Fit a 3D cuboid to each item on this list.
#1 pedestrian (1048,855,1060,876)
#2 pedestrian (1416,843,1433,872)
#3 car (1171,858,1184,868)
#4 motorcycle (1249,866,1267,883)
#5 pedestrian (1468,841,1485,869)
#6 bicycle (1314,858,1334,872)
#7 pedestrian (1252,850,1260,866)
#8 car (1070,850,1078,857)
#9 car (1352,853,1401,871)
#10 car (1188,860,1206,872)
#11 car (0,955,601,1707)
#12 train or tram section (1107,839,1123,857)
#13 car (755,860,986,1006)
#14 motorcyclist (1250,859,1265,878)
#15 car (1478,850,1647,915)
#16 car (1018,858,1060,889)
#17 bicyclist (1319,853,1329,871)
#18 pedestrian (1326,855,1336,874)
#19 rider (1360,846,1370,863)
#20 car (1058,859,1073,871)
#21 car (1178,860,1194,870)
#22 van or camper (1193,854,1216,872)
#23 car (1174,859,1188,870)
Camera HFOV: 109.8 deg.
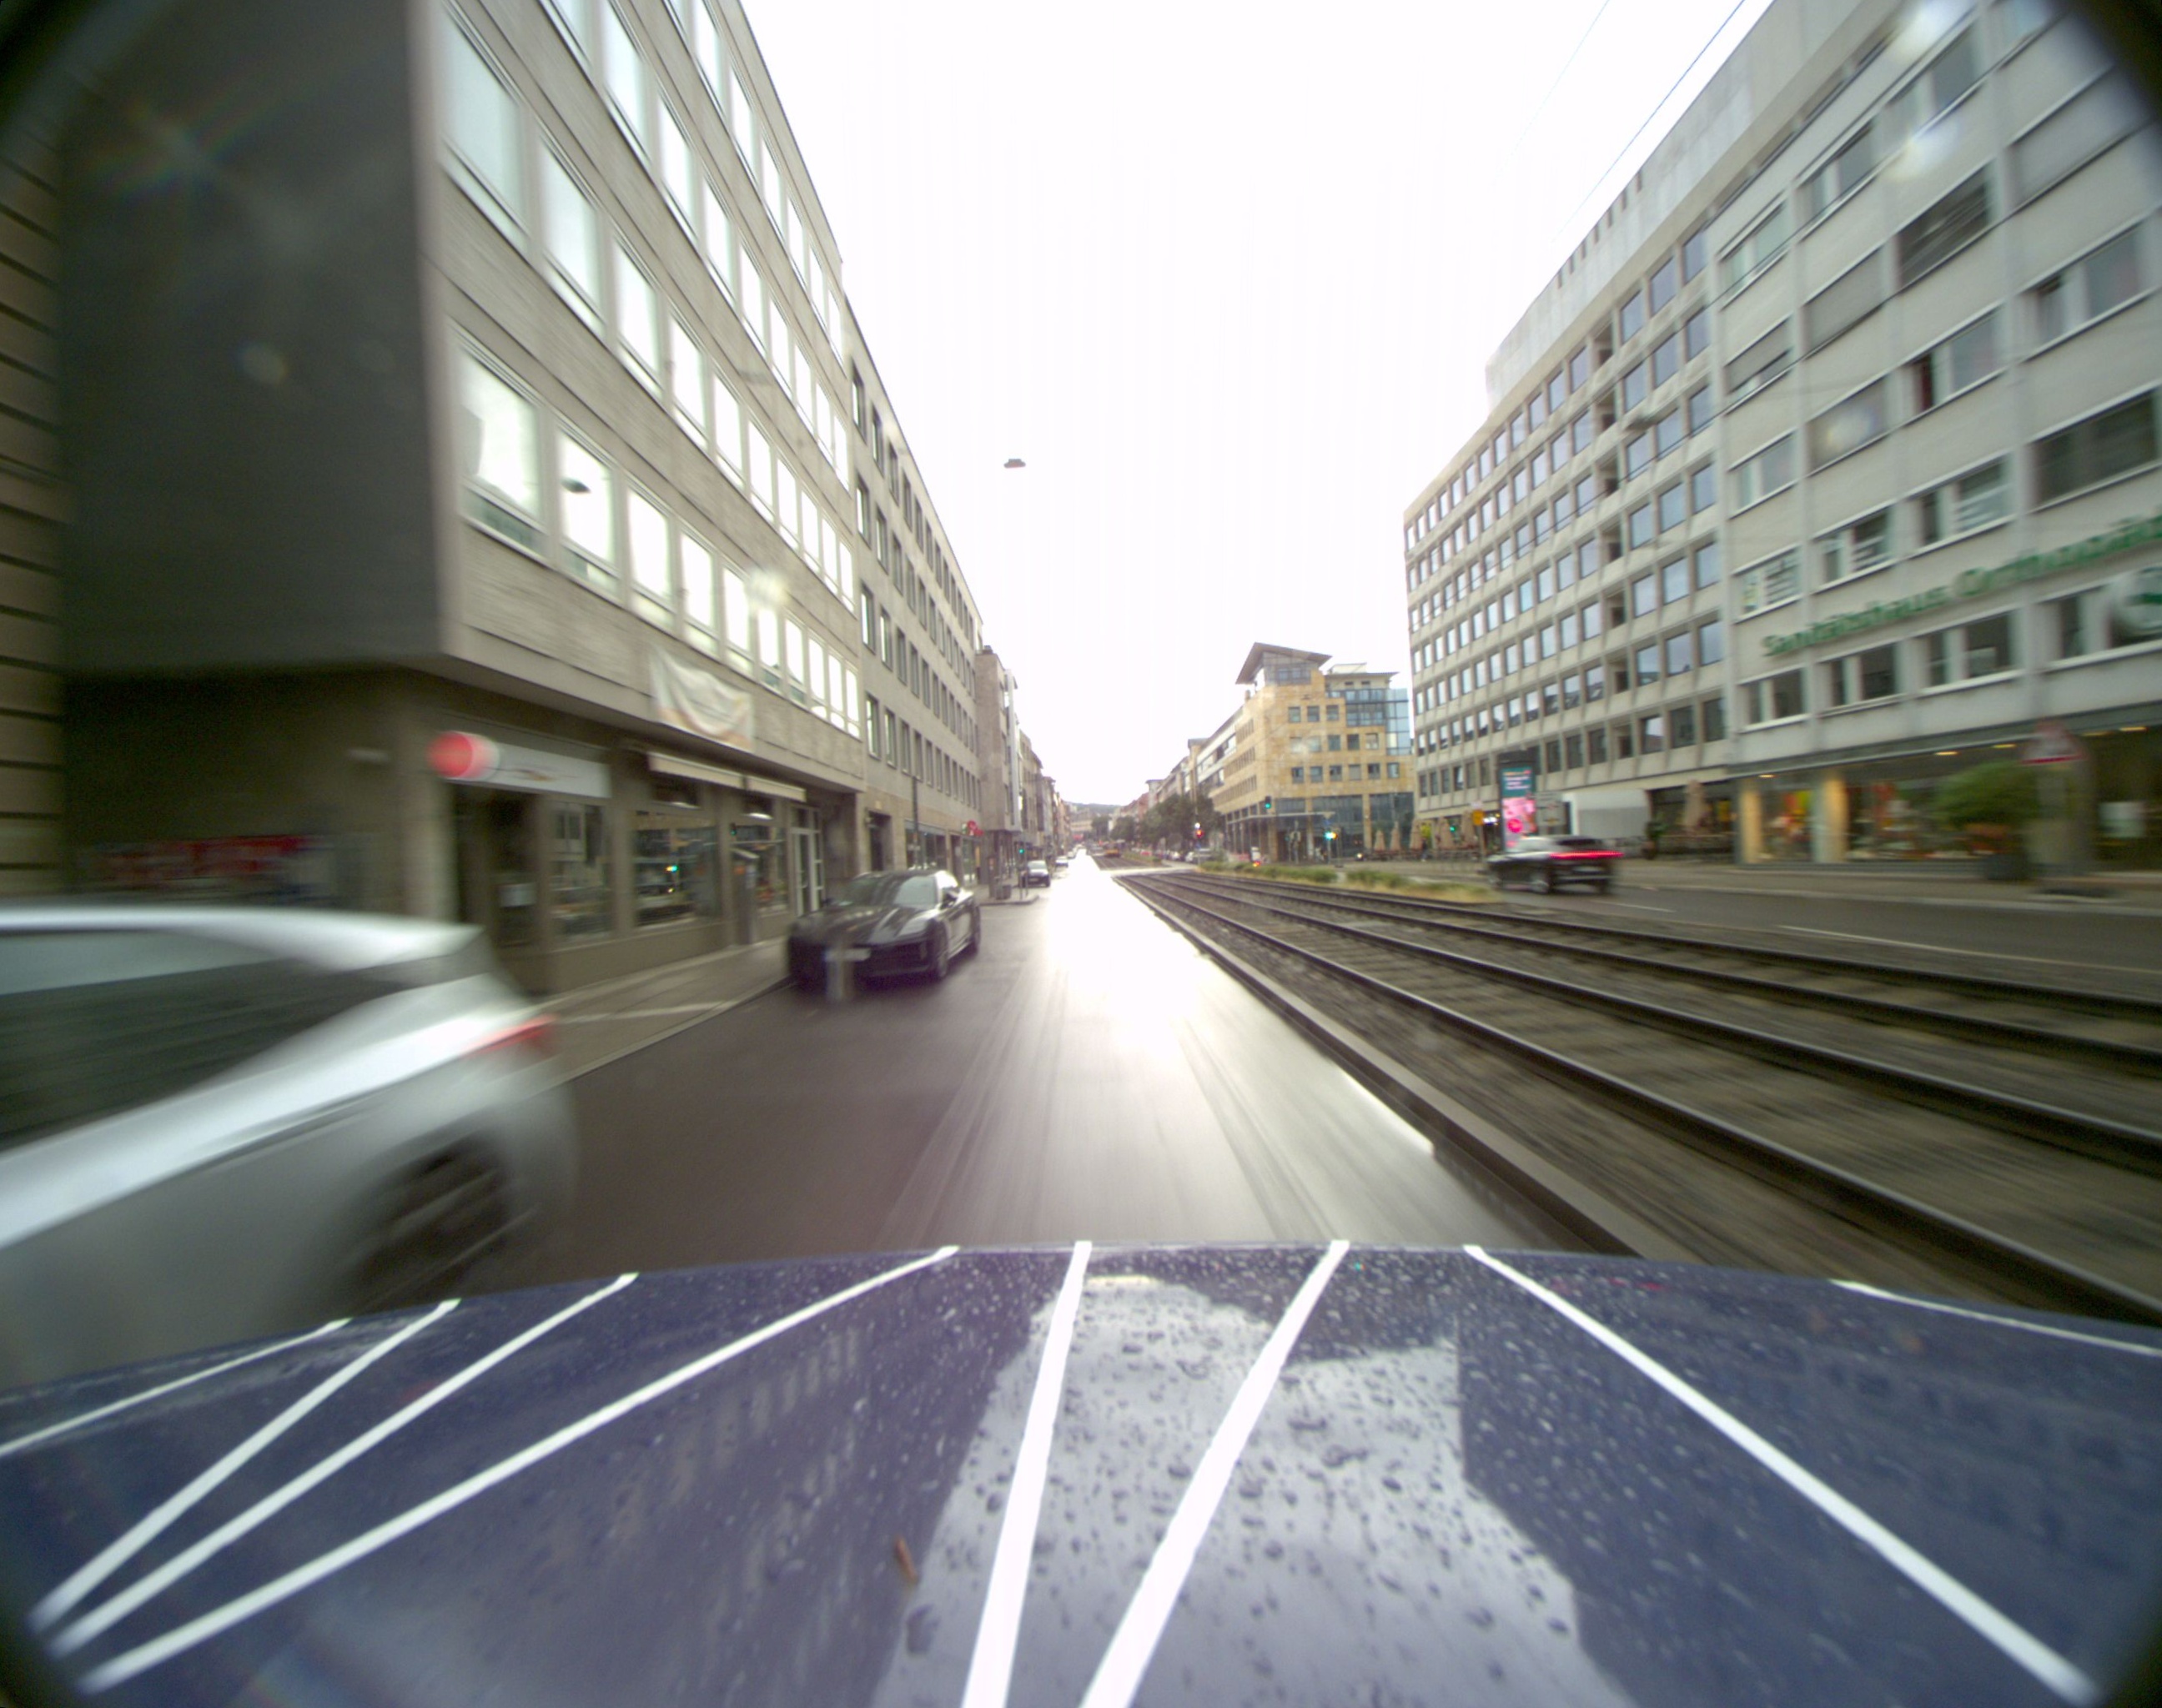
[{"bbox_3d":[-2.163,0.924,60.578,0.662,1.573,0.778,-2,0,-21],"label":"pedestrian"},{"bbox_3d":[22.452,0.235,49.631,0.566,1.812,0.844,-3,0,-4],"label":"pedestrian"},{"bbox_3d":[15.839,1.526,124.524,1.653,1.489,4.293,-2,0,1],"label":"car"},{"bbox_3d":[11.644,1.337,50.074,0.744,1.053,1.932,-3,0,2],"label":"motorcycle"},{"bbox_3d":[25.792,0.077,49.549,0.566,1.738,0.844,-3,0,-4],"label":"pedestrian"},{"bbox_3d":[25.216,1.156,78.793,1.768,1.303,0.660,-3,0,0],"label":"bicycle"},{"bbox_3d":[20.355,0.472,88.371,0.703,1.804,0.679,-3,0,3],"label":"pedestrian"},{"bbox_3d":[-1.581,-0.158,172.803,1.653,1.489,4.067,-2,0,1],"label":"car"},{"bbox_3d":[29.059,0.755,74.762,3.996,1.521,1.891,-3,-1,1],"label":"car"},{"bbox_3d":[15.831,1.603,103.763,1.693,1.477,4.256,-3,-1,-1],"label":"car"},{"bbox_3d":[-2.757,1.140,0.741,1.750,1.514,4.356,-3,-1,0],"label":"car"},{"bbox_3d":[8.240,-1.542,186.109,2.909,4.027,18.765,-2,1,0],"label":"train or tram section"},{"bbox_3d":[-2.741,0.949,11.165,1.998,1.584,4.572,-2,0,1],"label":"car"},{"bbox_3d":[11.617,0.934,50.105,0.743,1.210,0.970,-3,0,2],"label":"motorcyclist"},{"bbox_3d":[13.146,0.721,21.148,1.998,1.510,4.445,-3,-1,3],"label":"car"},{"bbox_3d":[-2.332,1.059,43.207,1.998,1.584,4.271,-2,0,1],"label":"car"},{"bbox_3d":[25.179,0.829,78.781,0.710,1.793,0.784,-3,0,0],"label":"bicyclist"},{"bbox_3d":[23.898,1.008,72.691,0.677,1.770,0.705,-3,0,35],"label":"pedestrian"},{"bbox_3d":[29.529,0.053,78.985,0.710,1.666,0.784,-3,0,0],"label":"rider"},{"bbox_3d":[-2.134,1.508,105.210,2.029,1.584,4.620,-2,0,0],"label":"car"},{"bbox_3d":[15.815,1.672,114.312,1.693,1.477,4.000,-3,-1,-1],"label":"car"},{"bbox_3d":[15.507,1.089,95.930,2.022,1.986,5.197,-3,1,1],"label":"van or camper"},{"bbox_3d":[15.629,1.616,119.189,1.653,1.489,4.192,-2,0,1],"label":"car"}]
